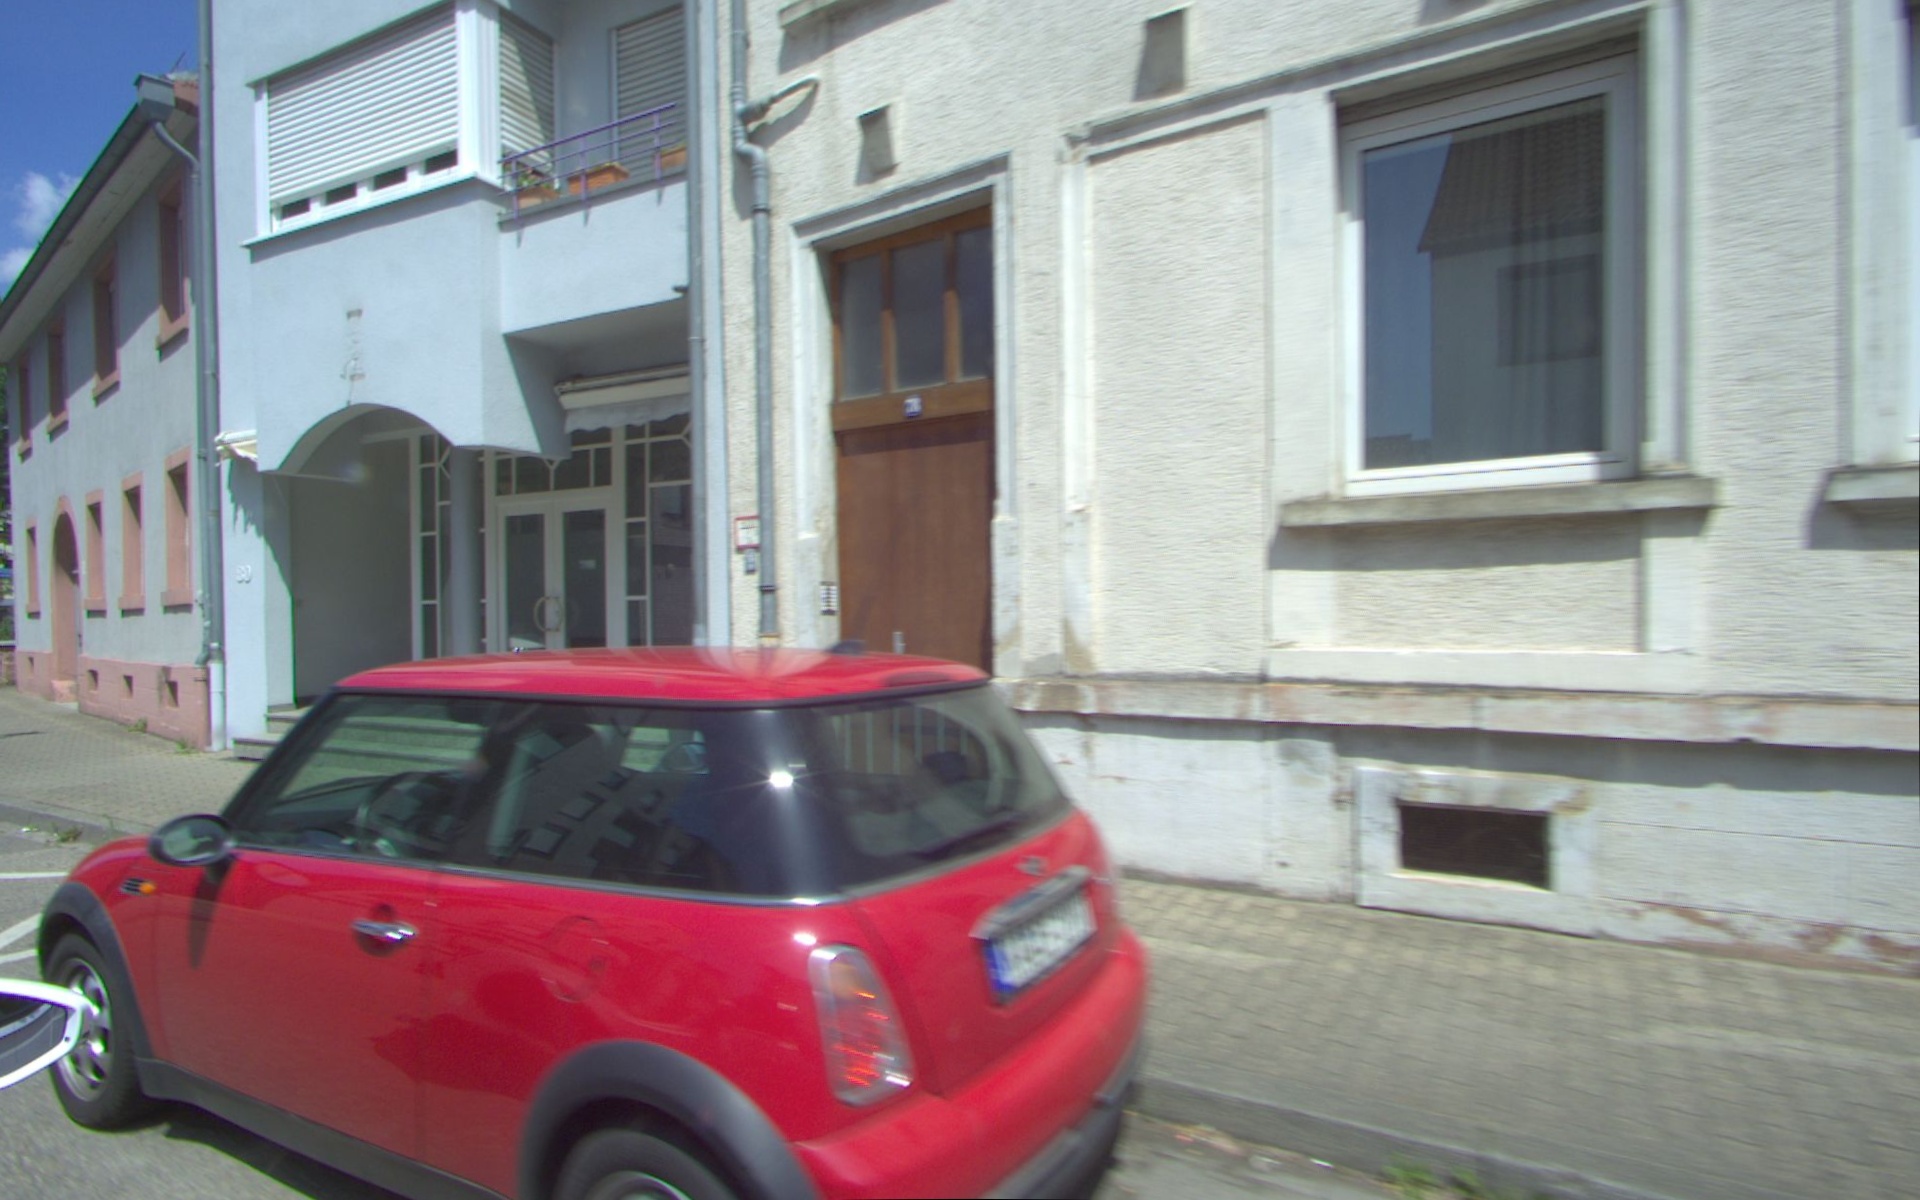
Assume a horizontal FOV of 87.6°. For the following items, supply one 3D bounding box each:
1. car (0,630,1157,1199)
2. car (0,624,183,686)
[{"bbox_3d":[-1.325,0.812,3.116,3.485,1.403,1.617,-1,0,30],"label":"car"},{"bbox_3d":[-23.188,1.396,26.664,1.716,1.468,3.593,1,0,30],"label":"car"}]
